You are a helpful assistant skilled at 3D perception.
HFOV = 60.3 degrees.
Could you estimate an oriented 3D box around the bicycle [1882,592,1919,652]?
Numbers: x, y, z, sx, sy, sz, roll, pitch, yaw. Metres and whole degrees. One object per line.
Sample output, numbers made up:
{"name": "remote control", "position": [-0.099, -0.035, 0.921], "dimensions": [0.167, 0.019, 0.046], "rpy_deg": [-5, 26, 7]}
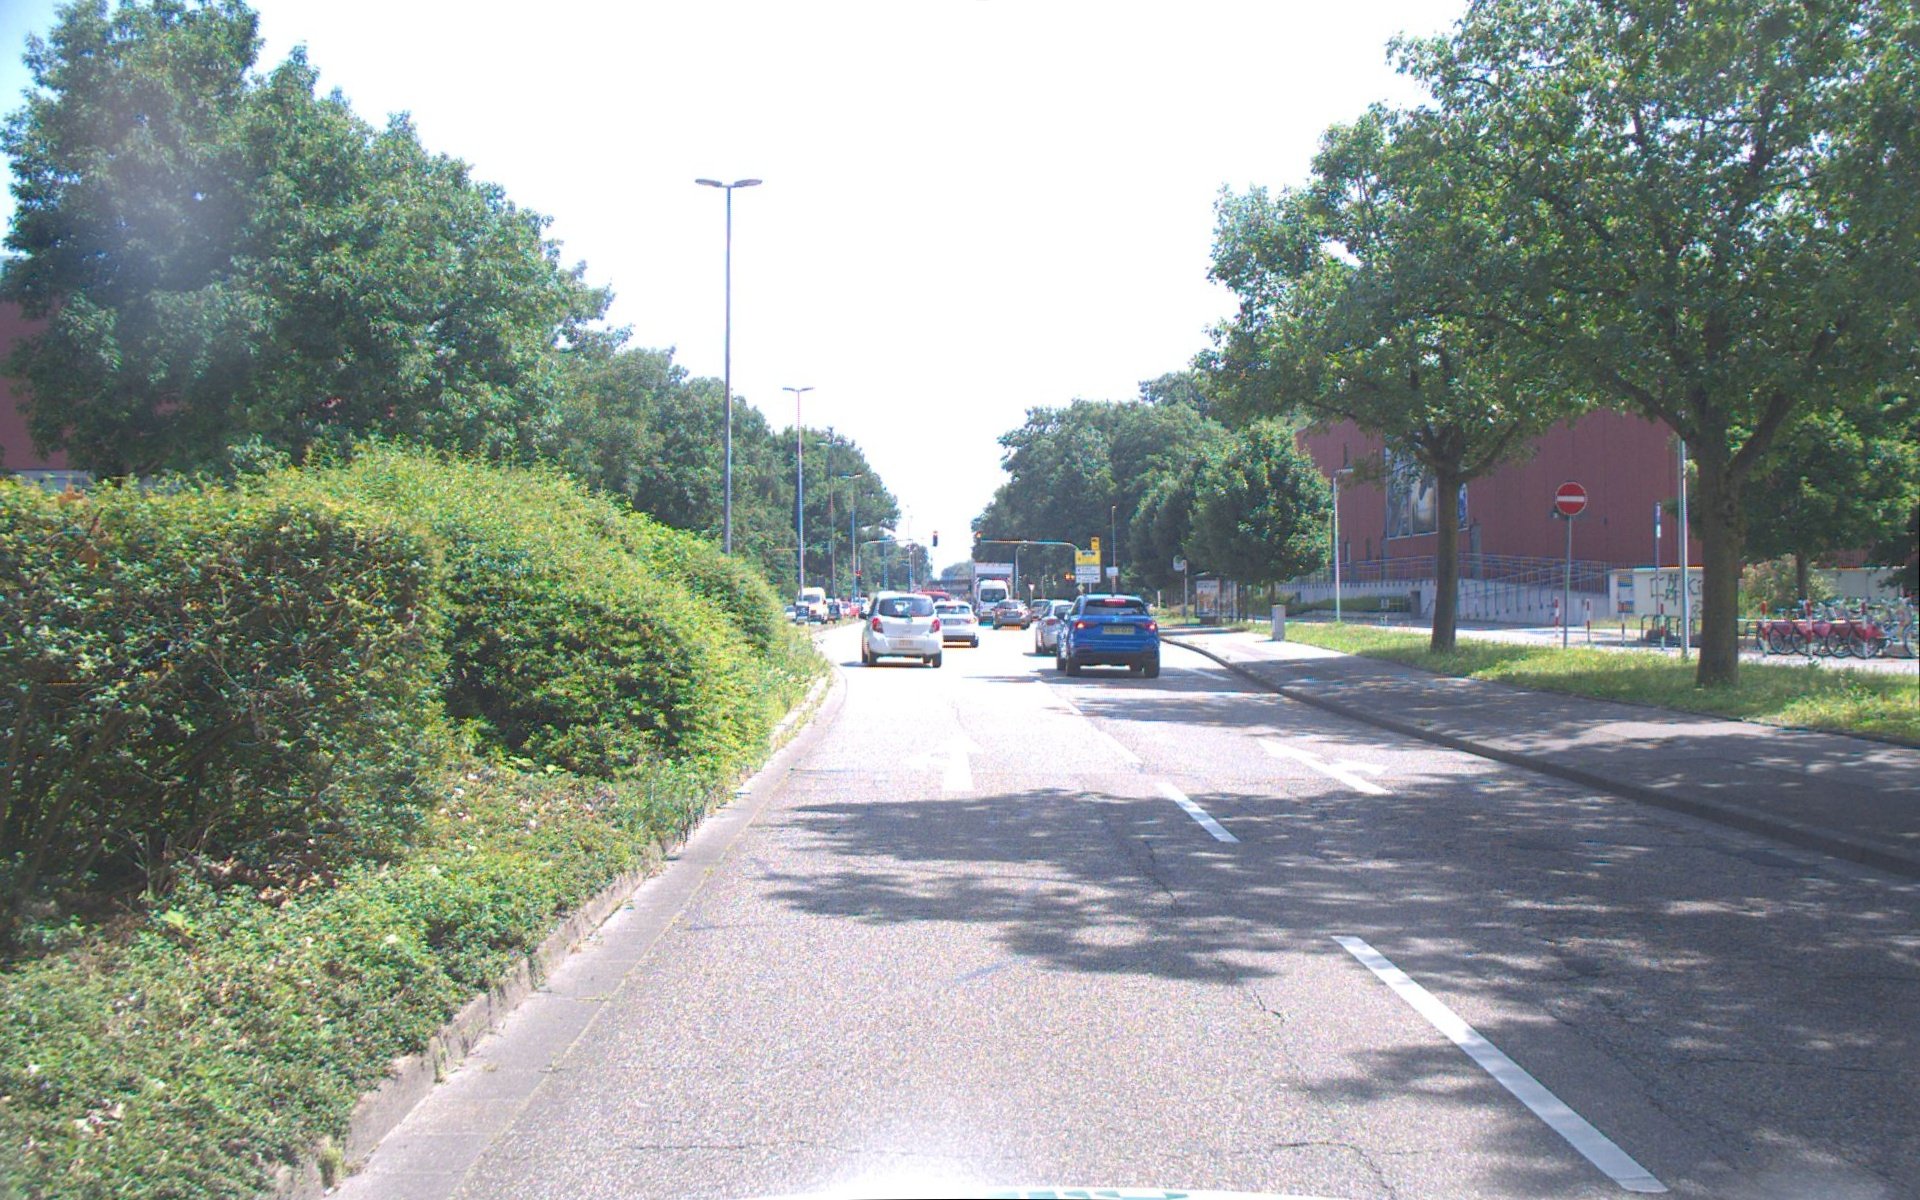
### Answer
{"name": "bicycle", "position": [17.959, 0.414, 31.085], "dimensions": [1.066, 1.104, 0.347], "rpy_deg": [-1, 0, -1]}

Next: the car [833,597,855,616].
{"name": "car", "position": [-10.334, 0.604, 146.883], "dimensions": [1.786, 1.702, 3.846], "rpy_deg": [0, -1, -7]}

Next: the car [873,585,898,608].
{"name": "car", "position": [-6.985, -0.333, 155.254], "dimensions": [1.952, 2.049, 4.001], "rpy_deg": [-1, 0, 2]}

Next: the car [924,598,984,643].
{"name": "car", "position": [-0.218, 0.651, 52.920], "dimensions": [1.846, 1.378, 3.999], "rpy_deg": [0, -1, -1]}

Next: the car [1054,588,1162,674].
{"name": "car", "position": [2.932, 0.605, 33.626], "dimensions": [1.772, 1.621, 4.348], "rpy_deg": [0, -1, -1]}

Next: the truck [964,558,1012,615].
{"name": "truck", "position": [1.824, -0.891, 111.523], "dimensions": [2.872, 3.563, 9.156], "rpy_deg": [-1, 0, -1]}

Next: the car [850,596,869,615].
{"name": "car", "position": [-7.449, 0.416, 122.357], "dimensions": [1.341, 1.331, 2.691], "rpy_deg": [-1, 0, -4]}

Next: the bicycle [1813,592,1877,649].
{"name": "bicycle", "position": [17.782, 0.413, 33.239], "dimensions": [1.066, 1.104, 0.407], "rpy_deg": [-1, 0, -1]}

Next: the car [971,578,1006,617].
{"name": "car", "position": [1.707, -0.146, 100.920], "dimensions": [1.953, 2.295, 3.999], "rpy_deg": [-1, 0, -1]}

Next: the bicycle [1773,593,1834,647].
{"name": "bicycle", "position": [17.703, 0.425, 34.715], "dimensions": [1.066, 1.104, 0.407], "rpy_deg": [-1, 0, -1]}

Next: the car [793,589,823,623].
{"name": "car", "position": [-10.741, 0.455, 116.917], "dimensions": [1.743, 2.322, 4.751], "rpy_deg": [0, -1, -1]}

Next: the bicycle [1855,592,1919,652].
{"name": "bicycle", "position": [17.782, 0.420, 31.694], "dimensions": [1.066, 1.104, 0.347], "rpy_deg": [-1, 0, -1]}

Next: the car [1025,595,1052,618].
{"name": "car", "position": [5.355, 0.454, 113.286], "dimensions": [1.600, 1.489, 3.999], "rpy_deg": [-1, 0, -1]}

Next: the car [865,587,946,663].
{"name": "car", "position": [-1.233, 0.528, 36.236], "dimensions": [1.606, 1.579, 3.321], "rpy_deg": [0, -1, -5]}

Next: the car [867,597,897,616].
{"name": "car", "position": [-5.468, 0.436, 116.005], "dimensions": [1.953, 1.310, 3.999], "rpy_deg": [-1, 0, -1]}

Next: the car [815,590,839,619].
{"name": "car", "position": [-10.575, 0.359, 131.388], "dimensions": [1.745, 2.322, 3.994], "rpy_deg": [0, -1, -7]}

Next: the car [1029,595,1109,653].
{"name": "car", "position": [2.932, 0.650, 45.111], "dimensions": [1.828, 1.499, 3.999], "rpy_deg": [0, -1, -1]}

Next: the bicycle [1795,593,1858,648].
{"name": "bicycle", "position": [17.765, 0.418, 33.931], "dimensions": [1.066, 1.104, 0.407], "rpy_deg": [-1, 0, -1]}

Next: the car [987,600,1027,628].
{"name": "car", "position": [2.400, 0.685, 85.499], "dimensions": [1.828, 1.333, 3.999], "rpy_deg": [-2, 0, -1]}

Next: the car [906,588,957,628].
{"name": "car", "position": [-1.149, 0.331, 65.756], "dimensions": [1.760, 1.550, 3.996], "rpy_deg": [0, -1, -5]}

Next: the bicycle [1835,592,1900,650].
{"name": "bicycle", "position": [17.859, 0.407, 32.543], "dimensions": [1.066, 1.104, 0.347], "rpy_deg": [-1, 0, -1]}
